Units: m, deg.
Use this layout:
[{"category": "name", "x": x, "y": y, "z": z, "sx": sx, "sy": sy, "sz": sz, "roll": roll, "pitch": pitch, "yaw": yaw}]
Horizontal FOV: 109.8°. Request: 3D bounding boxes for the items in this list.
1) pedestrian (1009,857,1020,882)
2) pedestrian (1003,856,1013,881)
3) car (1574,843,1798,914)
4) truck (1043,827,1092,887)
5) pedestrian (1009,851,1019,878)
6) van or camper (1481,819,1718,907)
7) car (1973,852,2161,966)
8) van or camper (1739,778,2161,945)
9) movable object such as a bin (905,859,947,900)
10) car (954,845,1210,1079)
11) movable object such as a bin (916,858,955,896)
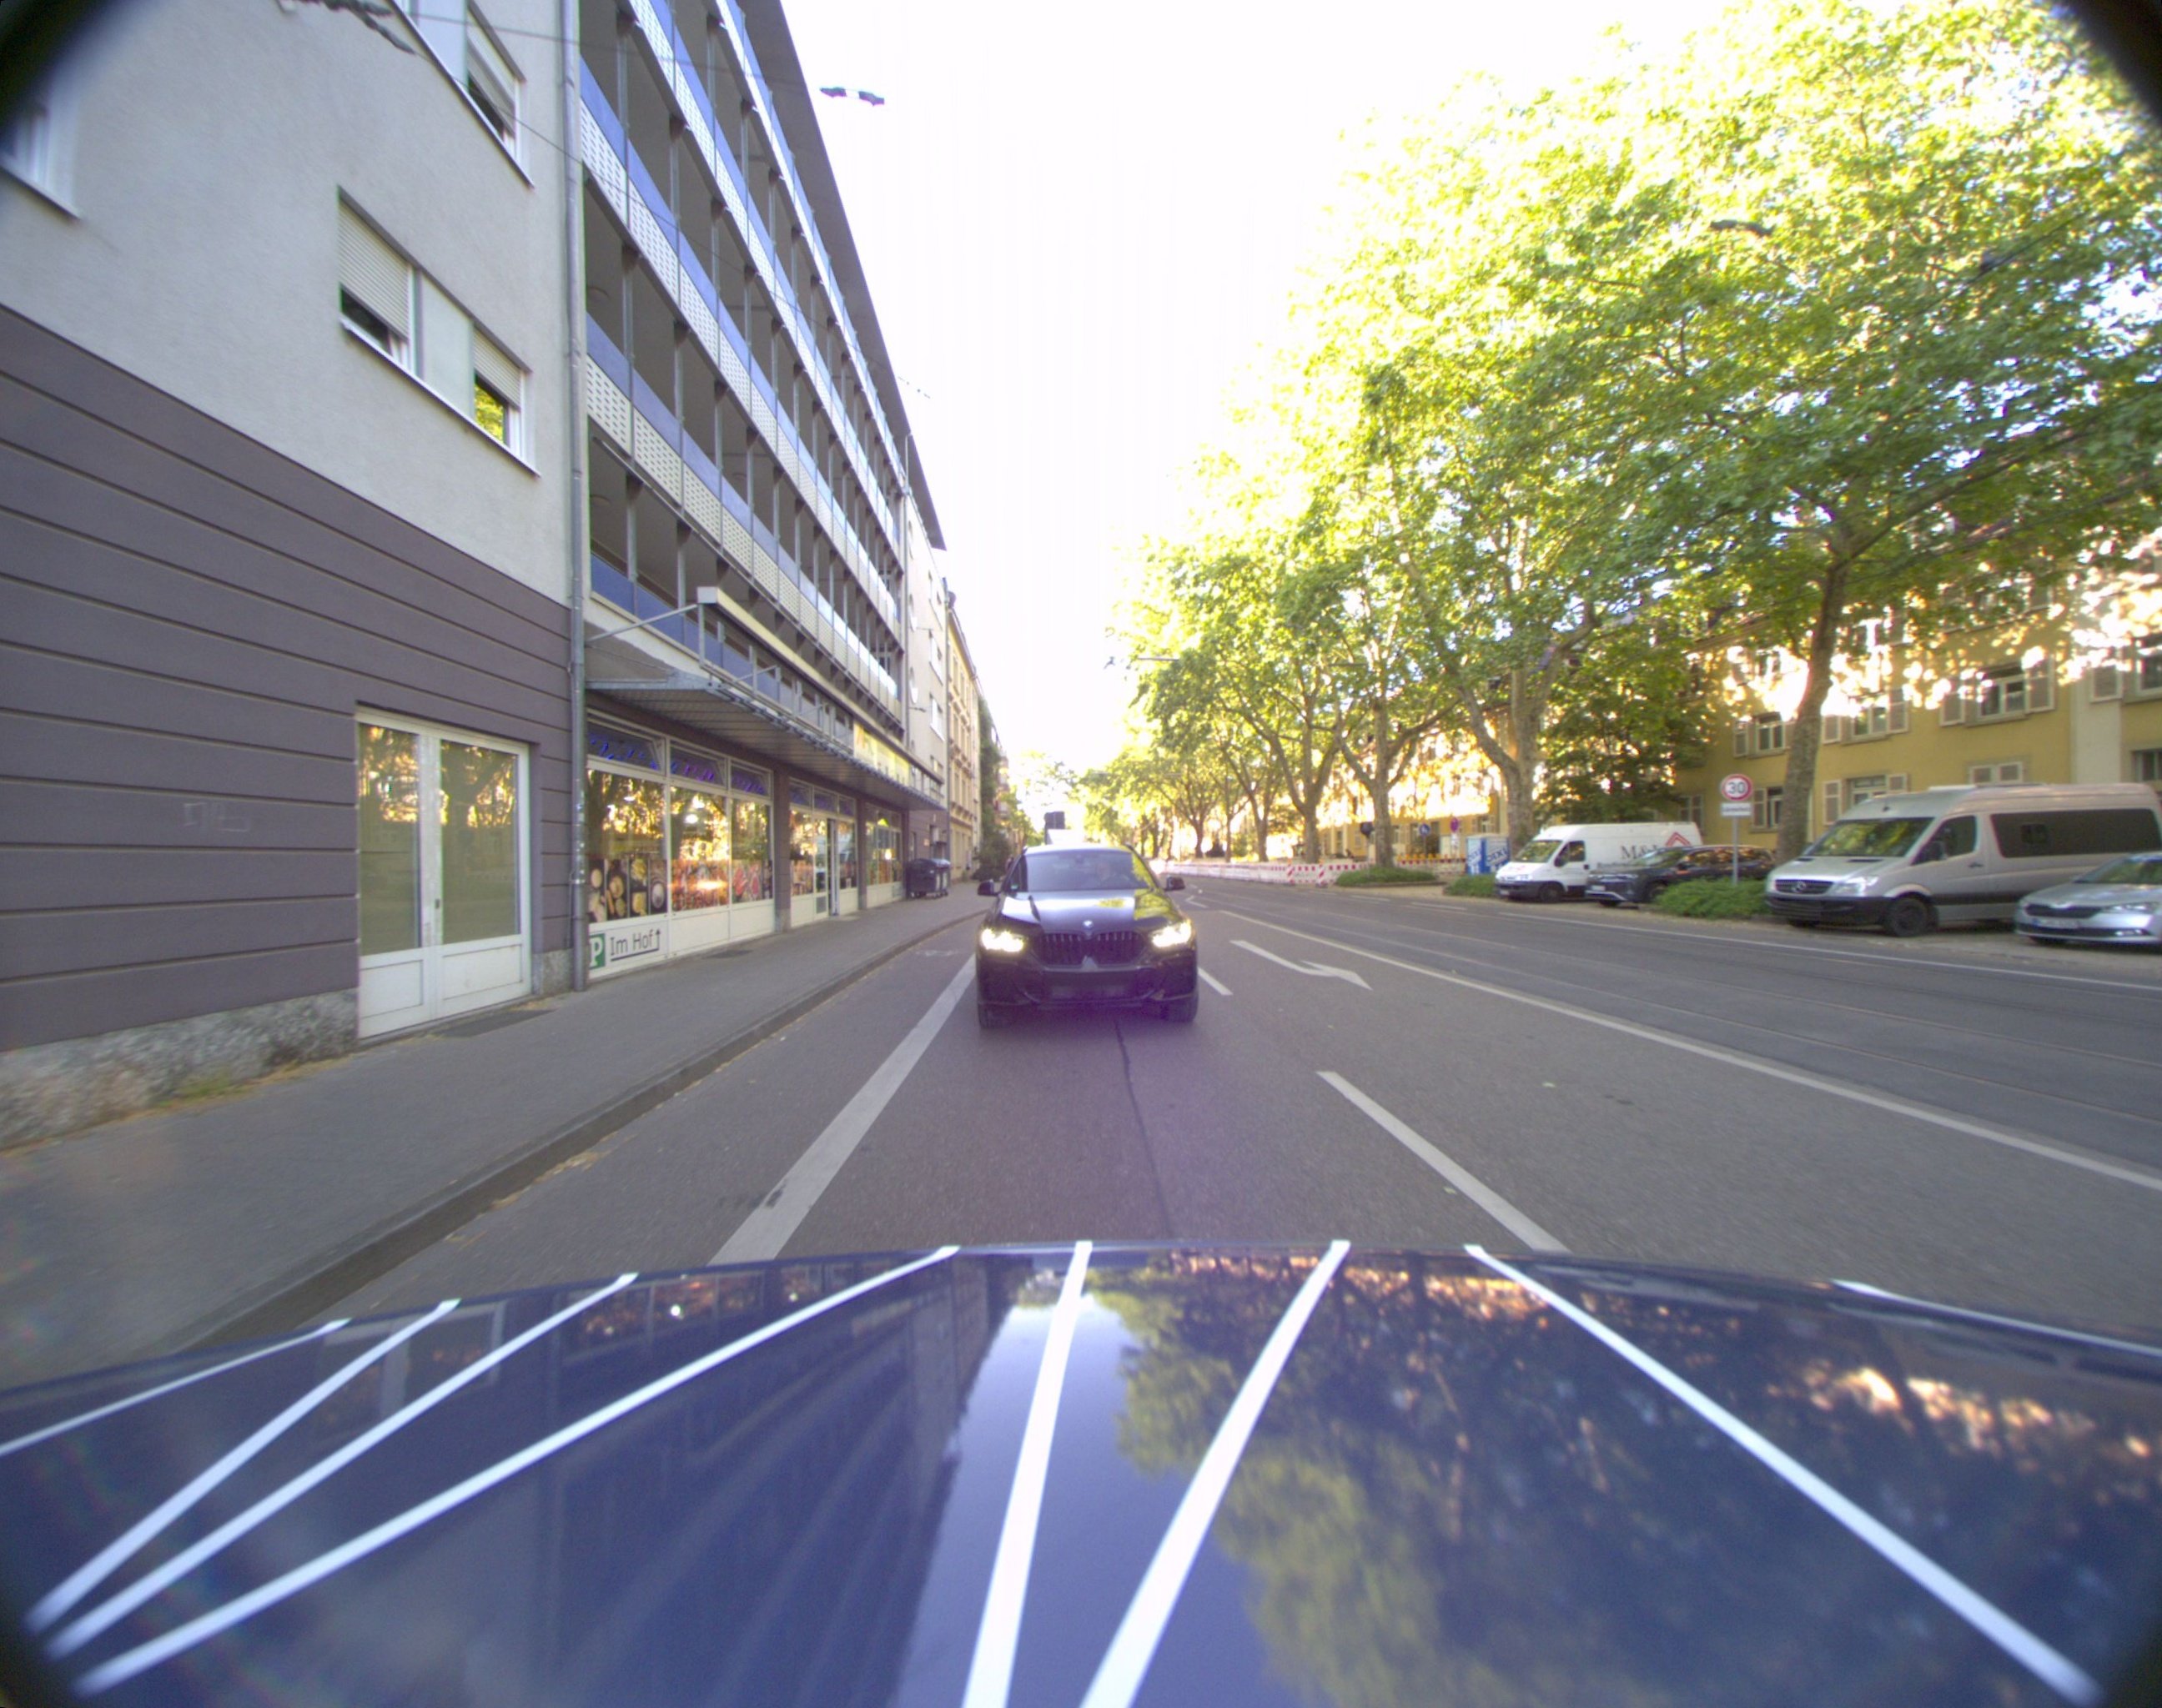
[{"category": "pedestrian", "x": -3.839, "y": 0.902, "z": 43.988, "sx": 0.541, "sy": 1.437, "sz": 0.630, "roll": -1, "pitch": 0, "yaw": 0}, {"category": "pedestrian", "x": -4.732, "y": 0.941, "z": 49.350, "sx": 0.541, "sy": 1.662, "sz": 0.513, "roll": -1, "pitch": 0, "yaw": 0}, {"category": "car", "x": 15.865, "y": 0.611, "z": 20.088, "sx": 4.540, "sy": 1.624, "sz": 1.693, "roll": -2, "pitch": 1, "yaw": 0}, {"category": "truck", "x": -0.834, "y": 0.121, "z": 42.842, "sx": 2.344, "sy": 3.096, "sz": 5.210, "roll": -2, "pitch": 1, "yaw": -5}, {"category": "pedestrian", "x": -4.168, "y": 0.664, "z": 47.570, "sx": 0.541, "sy": 1.662, "sz": 0.630, "roll": -1, "pitch": 0, "yaw": 0}, {"category": "van or camper", "x": 15.718, "y": 0.243, "z": 23.265, "sx": 5.763, "sy": 2.371, "sz": 2.156, "roll": -2, "pitch": 1, "yaw": -1}, {"category": "car", "x": 16.267, "y": 0.725, "z": 11.174, "sx": 4.276, "sy": 1.438, "sz": 1.693, "roll": -2, "pitch": 1, "yaw": 0}, {"category": "van or camper", "x": 15.928, "y": 0.103, "z": 13.892, "sx": 5.932, "sy": 2.633, "sz": 2.156, "roll": -2, "pitch": 1, "yaw": -1}, {"category": "movable object such as a bin", "x": -5.473, "y": 0.880, "z": 26.907, "sx": 1.203, "sy": 1.402, "sz": 1.372, "roll": -1, "pitch": 0, "yaw": 0}, {"category": "car", "x": 0.033, "y": 0.818, "z": 8.250, "sx": 1.930, "sy": 1.742, "sz": 4.683, "roll": -2, "pitch": 1, "yaw": 1}, {"category": "movable object such as a bin", "x": -5.514, "y": 0.855, "z": 28.906, "sx": 1.203, "sy": 1.402, "sz": 1.372, "roll": -1, "pitch": 0, "yaw": 0}]
